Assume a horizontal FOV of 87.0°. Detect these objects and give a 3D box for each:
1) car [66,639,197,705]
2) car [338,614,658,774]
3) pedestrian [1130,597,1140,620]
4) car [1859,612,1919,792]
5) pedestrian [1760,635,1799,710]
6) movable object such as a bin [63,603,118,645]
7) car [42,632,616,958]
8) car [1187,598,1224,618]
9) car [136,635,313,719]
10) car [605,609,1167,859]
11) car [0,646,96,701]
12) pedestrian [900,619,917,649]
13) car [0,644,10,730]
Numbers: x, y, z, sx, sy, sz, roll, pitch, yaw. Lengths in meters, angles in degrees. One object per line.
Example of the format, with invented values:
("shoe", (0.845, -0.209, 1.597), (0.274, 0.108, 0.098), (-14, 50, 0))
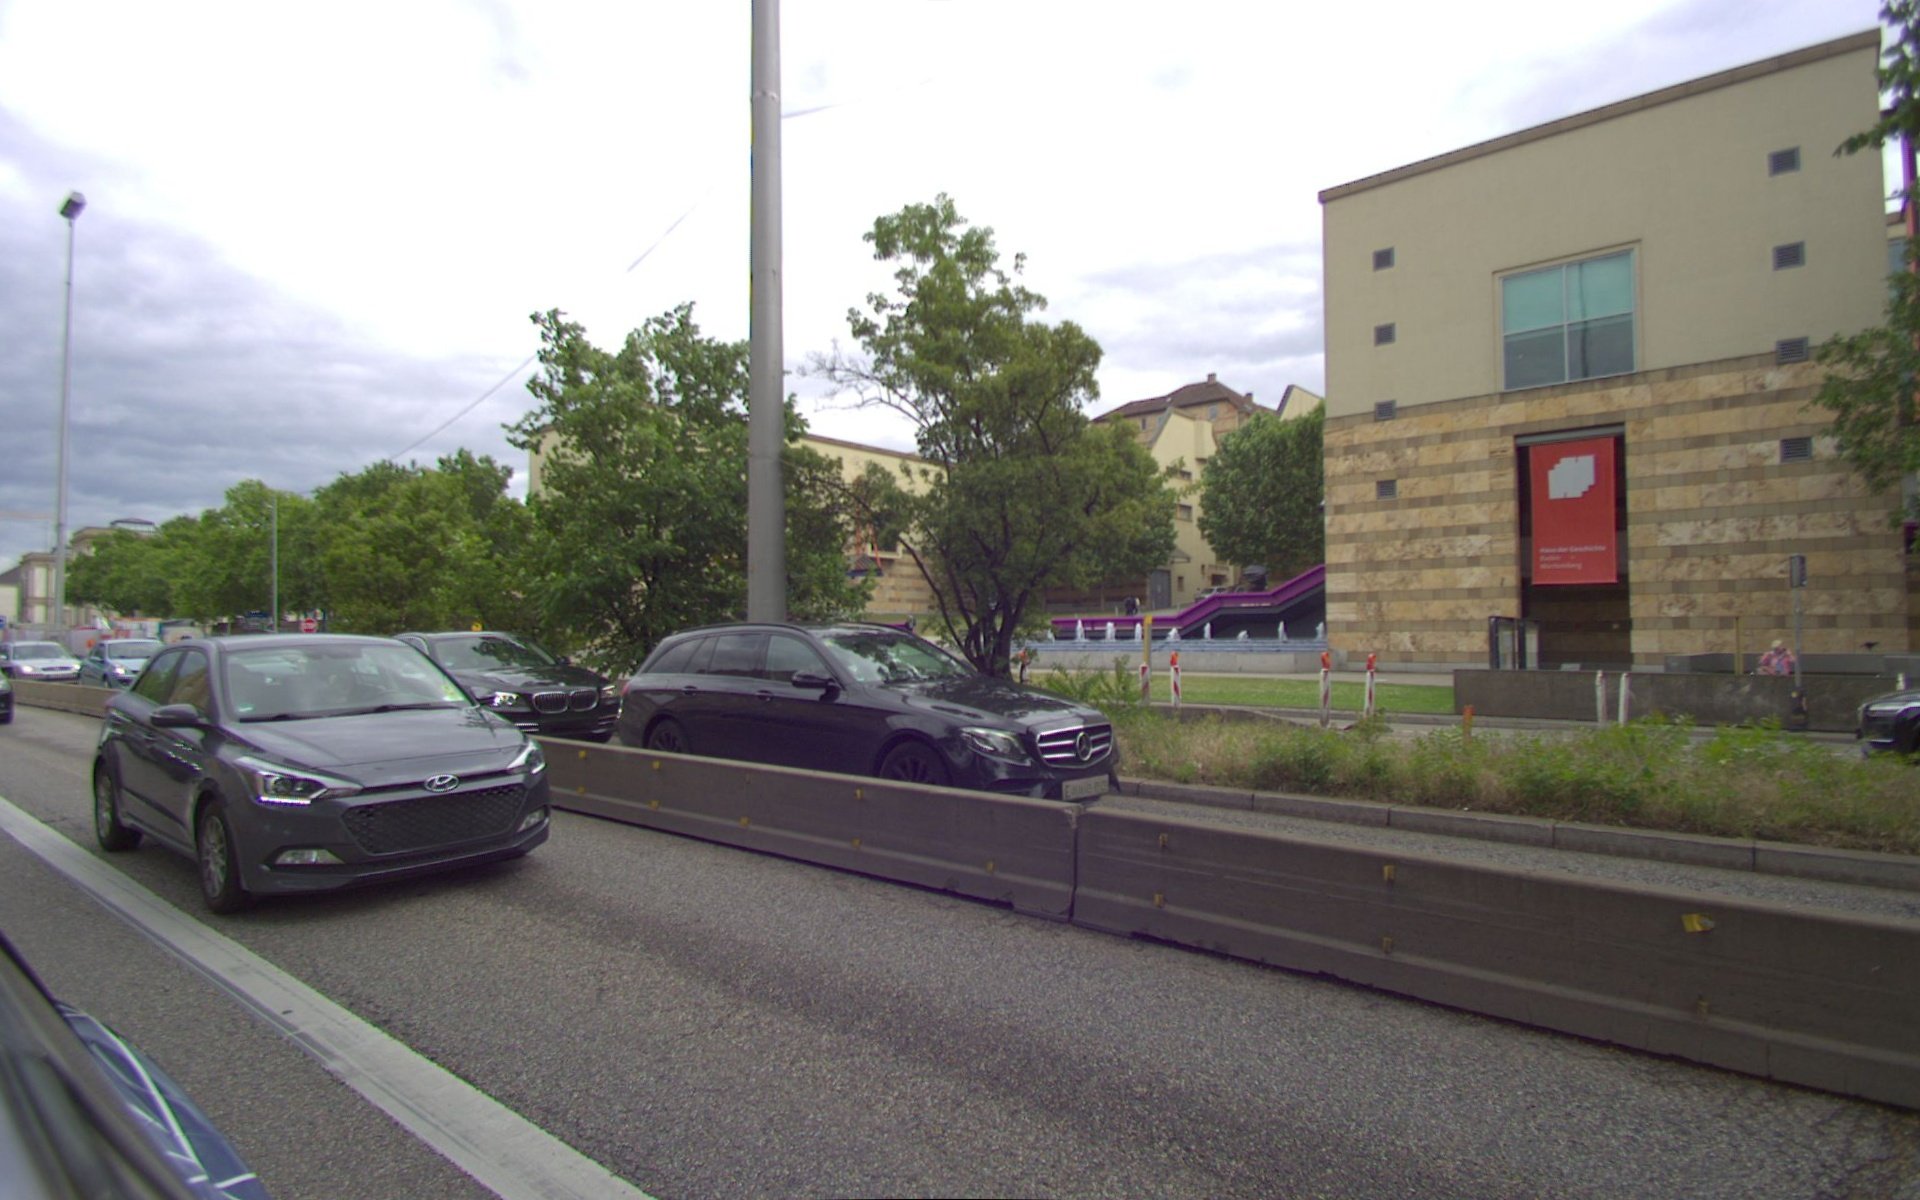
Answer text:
("car", (-21.233, 1.786, 25.897), (3.846, 1.518, 1.658), (-2, -2, 36))
("car", (-6.022, 1.049, 12.875), (4.935, 1.648, 1.903), (-2, -2, 42))
("pedestrian", (13.522, 0.675, 78.306), (0.477, 1.762, 0.638), (-2, -2, 39))
("car", (12.402, 1.025, 10.070), (5.108, 1.890, 2.170), (-3, -3, 42))
("pedestrian", (17.168, 1.508, 21.197), (0.562, 1.543, 0.519), (-3, -3, 43))
("movable object such as a bin", (-47.102, 1.340, 54.806), (3.286, 2.202, 1.508), (-2, -3, 36))
("car", (-4.192, 0.957, 6.517), (4.012, 1.448, 1.781), (-2, -2, 36))
("car", (22.669, 0.722, 93.264), (1.610, 1.811, 3.753), (-3, -2, 43))
("car", (-14.494, 1.441, 19.871), (4.190, 1.465, 1.644), (-2, -2, 37))
("car", (-0.855, 0.902, 8.386), (4.765, 1.511, 1.798), (-2, -3, 40))
("car", (-28.398, 2.182, 30.771), (4.687, 1.492, 1.864), (-2, -2, 31))
("pedestrian", (-3.266, 2.188, 64.752), (0.803, 1.867, 0.684), (-2, -1, 41))
("car", (-18.621, 1.556, 18.291), (3.617, 1.484, 1.592), (-2, -3, 38))
